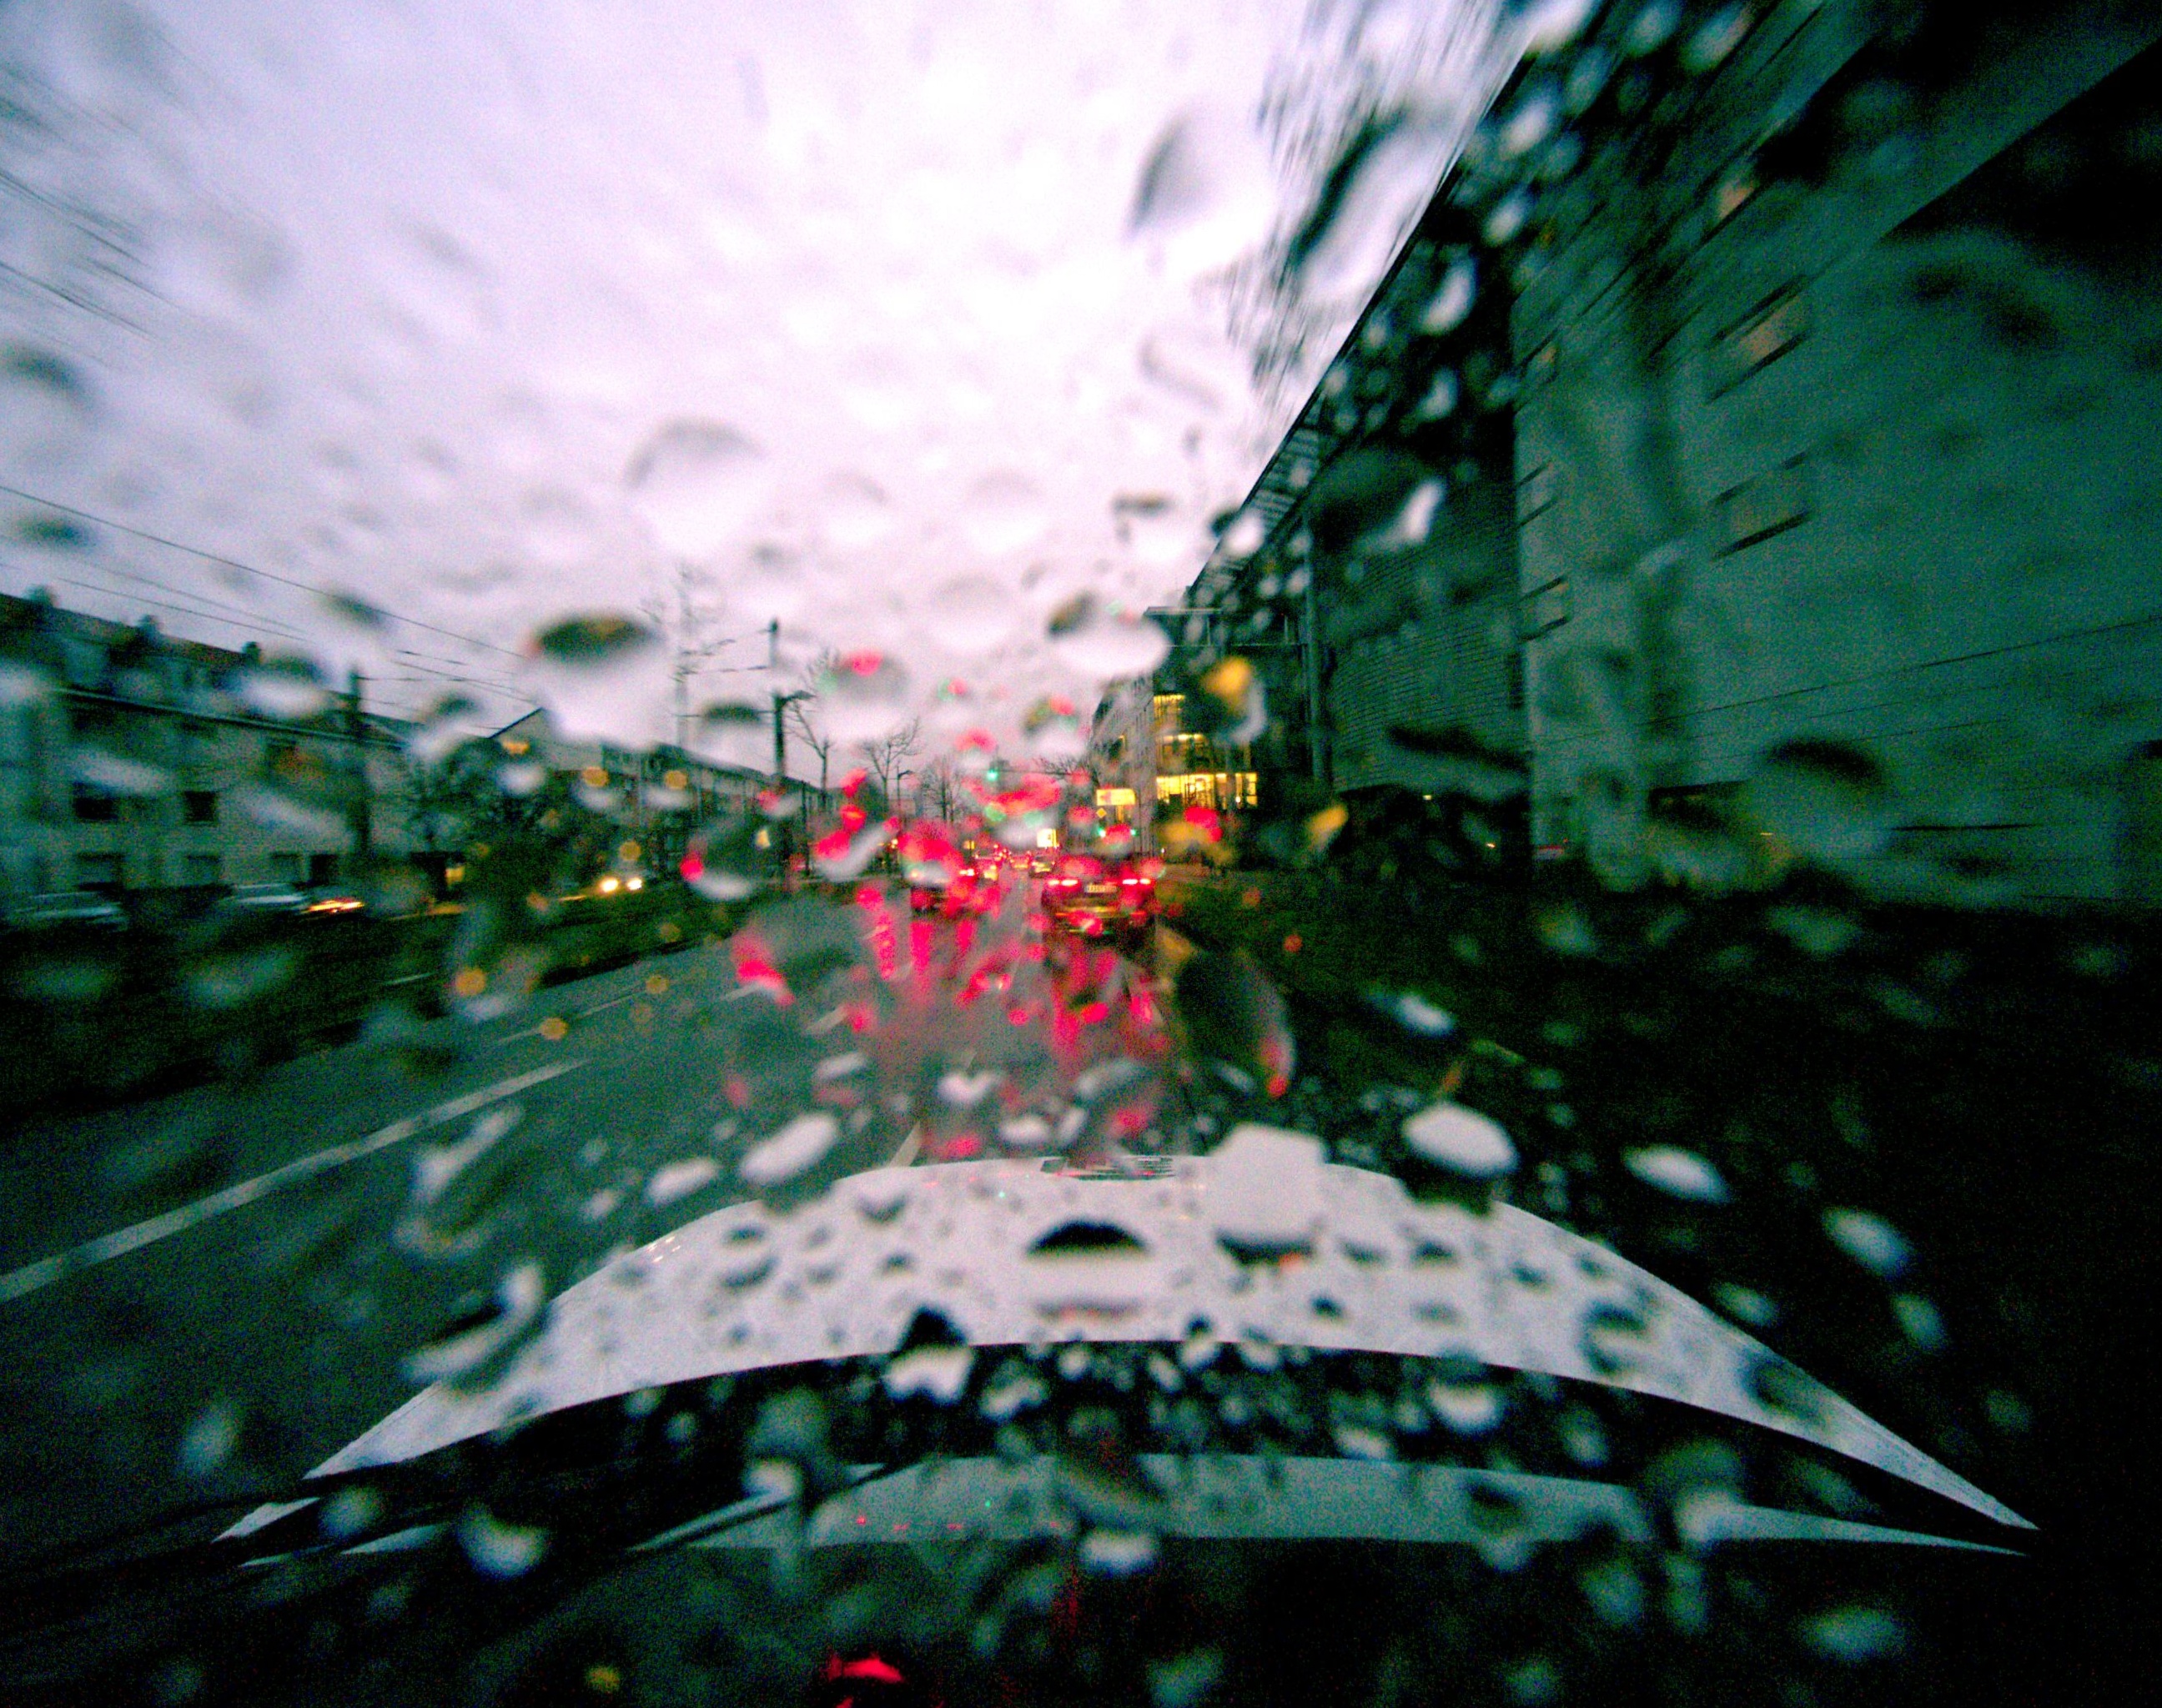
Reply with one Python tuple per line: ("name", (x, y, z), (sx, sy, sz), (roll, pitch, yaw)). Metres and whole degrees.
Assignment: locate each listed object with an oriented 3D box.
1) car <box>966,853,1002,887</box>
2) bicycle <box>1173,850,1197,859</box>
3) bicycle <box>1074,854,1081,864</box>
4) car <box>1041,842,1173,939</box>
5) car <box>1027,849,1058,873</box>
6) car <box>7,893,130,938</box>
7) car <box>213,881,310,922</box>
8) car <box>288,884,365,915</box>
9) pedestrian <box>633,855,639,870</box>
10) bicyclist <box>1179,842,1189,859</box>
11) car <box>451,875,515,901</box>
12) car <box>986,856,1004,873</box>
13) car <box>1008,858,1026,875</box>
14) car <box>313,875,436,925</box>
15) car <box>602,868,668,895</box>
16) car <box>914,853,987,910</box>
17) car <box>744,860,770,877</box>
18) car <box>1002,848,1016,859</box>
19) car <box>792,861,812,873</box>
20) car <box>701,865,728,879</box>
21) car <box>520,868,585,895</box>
("car", (-5.018, 0.806, 42.455), (1.686, 1.635, 3.468), (-1, 0, -4))
("bicycle", (8.260, 0.030, 64.679), (1.712, 0.745, 0.655), (0, 0, 29))
("bicycle", (-0.351, 0.519, 82.997), (0.544, 0.965, 1.343), (-1, 0, -7))
("car", (0.316, 0.568, 14.604), (1.990, 1.483, 3.694), (-1, 0, -4))
("car", (-2.514, 0.429, 53.880), (1.862, 1.543, 3.609), (-1, 0, -1))
("car", (-30.905, 1.824, 24.862), (3.376, 1.147, 1.702), (0, 0, 27))
("car", (-31.685, 1.784, 31.474), (4.071, 1.378, 1.784), (0, 0, 32))
("car", (-31.909, 1.903, 34.434), (3.007, 1.147, 1.405), (0, 0, 26))
("pedestrian", (-36.020, 0.684, 65.888), (0.348, 1.184, 0.429), (-1, 0, -45))
("bicyclist", (8.219, -0.297, 64.716), (0.615, 1.330, 0.569), (-1, 0, 29))
("car", (-32.780, 1.858, 44.620), (3.719, 1.337, 1.462), (-2, 1, 31))
("car", (-10.739, 1.313, 102.155), (1.989, 2.013, 3.996), (-1, 0, -3))
("car", (-5.935, 1.134, 75.923), (1.611, 1.522, 3.404), (-1, 0, -4))
("car", (-25.857, 1.639, 29.960), (1.610, 1.623, 3.504), (-1, 0, -4))
("car", (-28.231, 1.686, 51.739), (1.877, 1.502, 4.782), (-1, 0, -5))
("car", (-3.622, 0.710, 23.197), (1.815, 1.450, 3.992), (-1, 0, -6))
("car", (-39.187, 1.710, 98.595), (1.992, 2.013, 3.989), (-1, 0, -8))
("car", (-11.215, -0.111, 126.245), (1.989, 1.715, 3.420), (-1, 0, -3))
("car", (-39.187, 1.802, 114.614), (1.930, 1.597, 3.718), (-1, 0, -7))
("car", (-37.509, 1.826, 83.386), (1.442, 1.287, 3.380), (-1, 0, -5))
("car", (-32.853, 1.693, 50.626), (3.750, 1.555, 1.753), (0, 0, 28))
